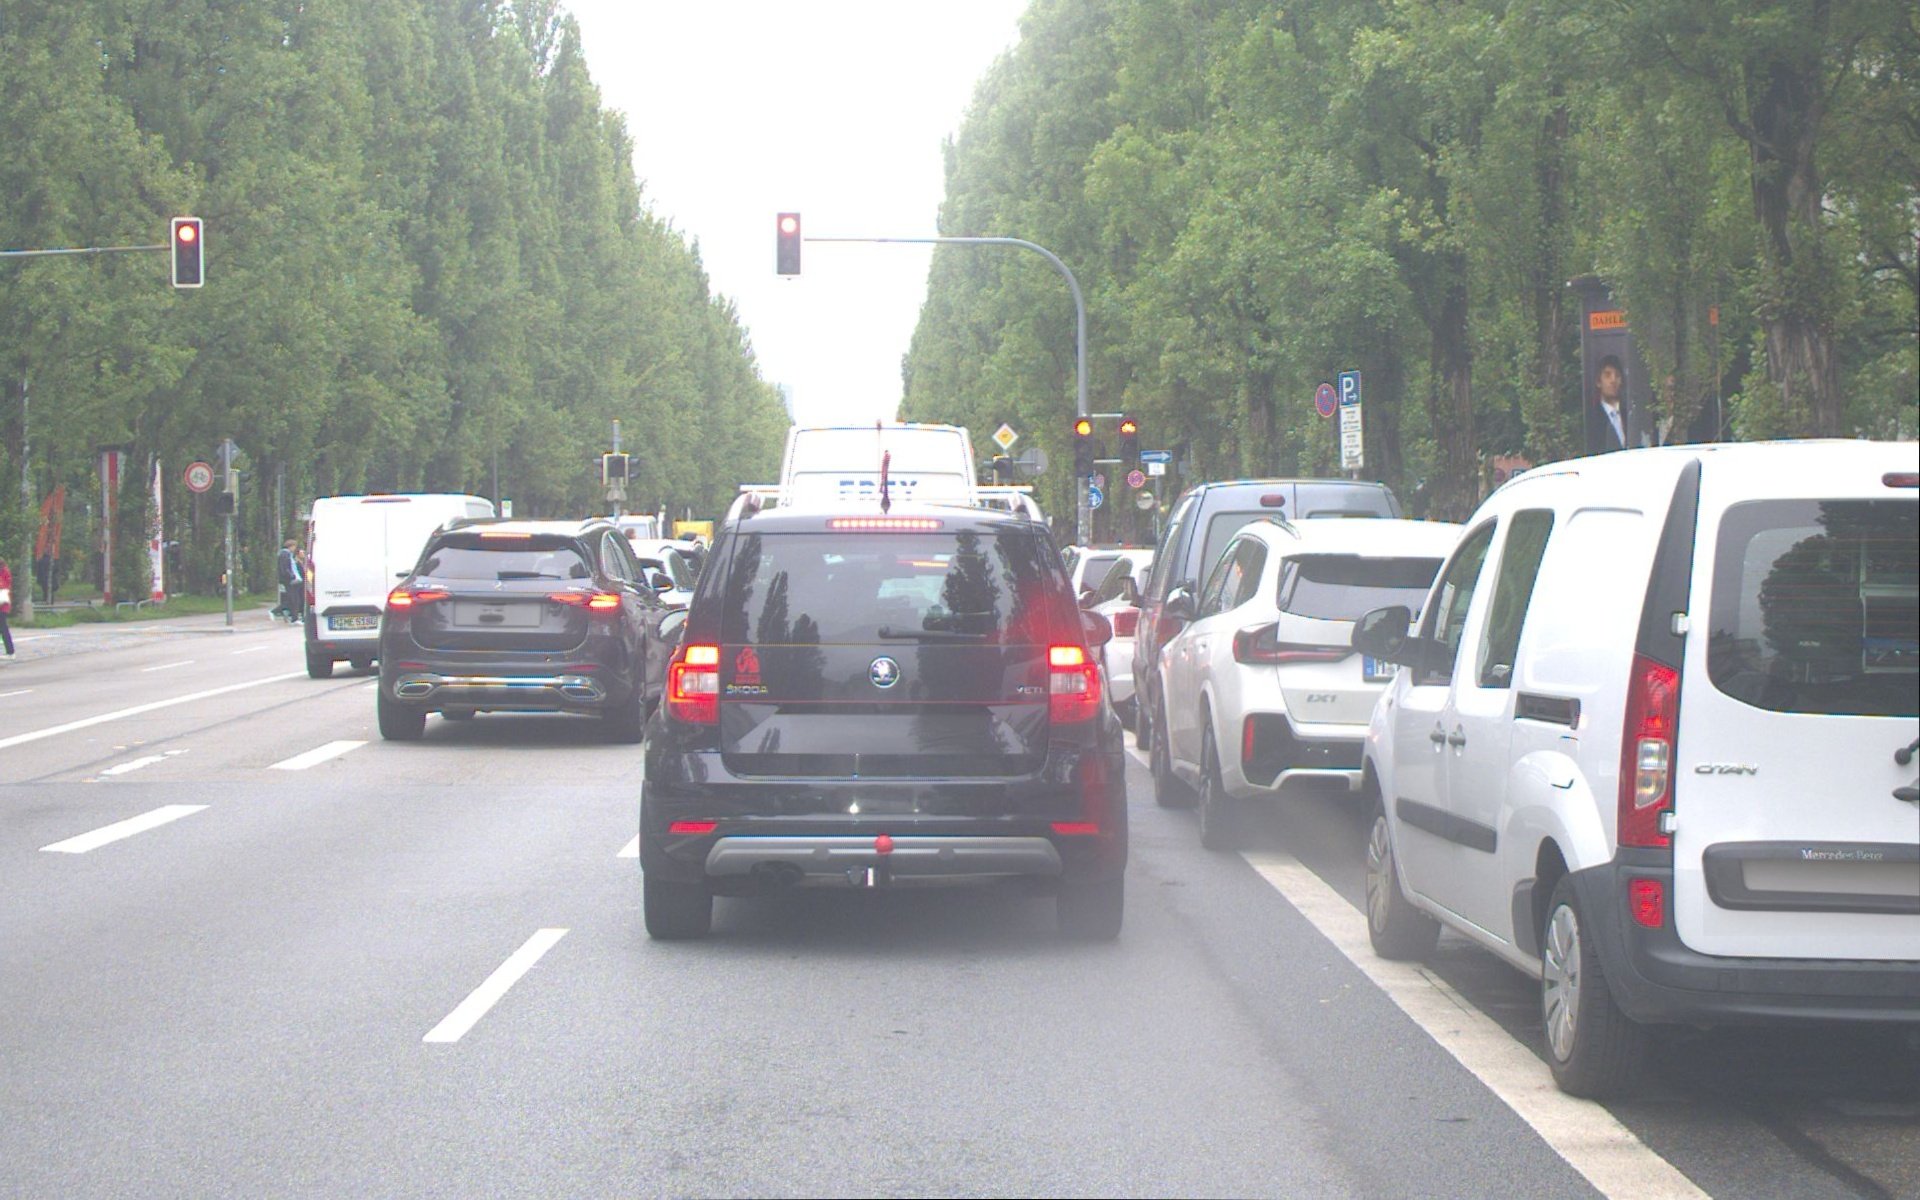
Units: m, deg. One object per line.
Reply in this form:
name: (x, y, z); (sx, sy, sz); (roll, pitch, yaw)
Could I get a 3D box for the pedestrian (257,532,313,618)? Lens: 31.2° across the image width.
pedestrian: (-14.057, -0.528, 71.630); (0.880, 1.758, 0.878); (-1, 1, 8)

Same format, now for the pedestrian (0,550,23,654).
pedestrian: (-13.792, 0.025, 49.308); (0.517, 1.480, 0.536); (-1, 1, 0)

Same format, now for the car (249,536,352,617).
car: (-15.131, -0.554, 78.983); (1.688, 1.776, 3.775); (-1, 1, -1)

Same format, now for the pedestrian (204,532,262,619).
pedestrian: (-14.935, -0.511, 70.636); (0.880, 1.758, 0.878); (-1, 1, 8)

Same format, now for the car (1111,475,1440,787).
car: (2.020, 0.140, 23.040); (1.735, 1.888, 4.025); (-1, 1, -1)

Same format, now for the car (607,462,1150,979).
car: (-0.319, 0.384, 14.007); (1.855, 1.764, 4.000); (1, 1, -1)

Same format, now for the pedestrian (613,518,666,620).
pedestrian: (-6.353, -0.619, 68.166); (0.885, 2.007, 1.013); (-1, 1, 2)

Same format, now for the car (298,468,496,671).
car: (-6.185, -0.364, 38.122); (1.781, 2.104, 4.025); (-1, 1, -4)

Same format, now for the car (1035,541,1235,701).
car: (1.701, 0.170, 34.418); (1.735, 1.470, 3.563); (-1, 1, -1)

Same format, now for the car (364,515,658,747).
car: (-3.330, 0.170, 26.175); (1.781, 1.614, 4.025); (-1, 1, -1)

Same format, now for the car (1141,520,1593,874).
car: (1.967, 0.394, 17.769); (1.741, 1.587, 4.212); (-1, 1, -1)

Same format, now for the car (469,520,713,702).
car: (-3.415, 0.051, 32.466); (1.993, 1.555, 4.001); (-1, 2, -2)

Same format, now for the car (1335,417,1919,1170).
car: (2.393, 0.429, 10.701); (1.851, 1.875, 4.169); (-1, 1, -2)

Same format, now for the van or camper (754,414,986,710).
van or camper: (-0.875, -0.375, 31.732); (1.975, 2.539, 4.025); (-1, 1, -3)

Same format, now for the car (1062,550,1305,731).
car: (1.834, 0.296, 29.118); (1.735, 1.382, 3.563); (-1, 1, -1)
